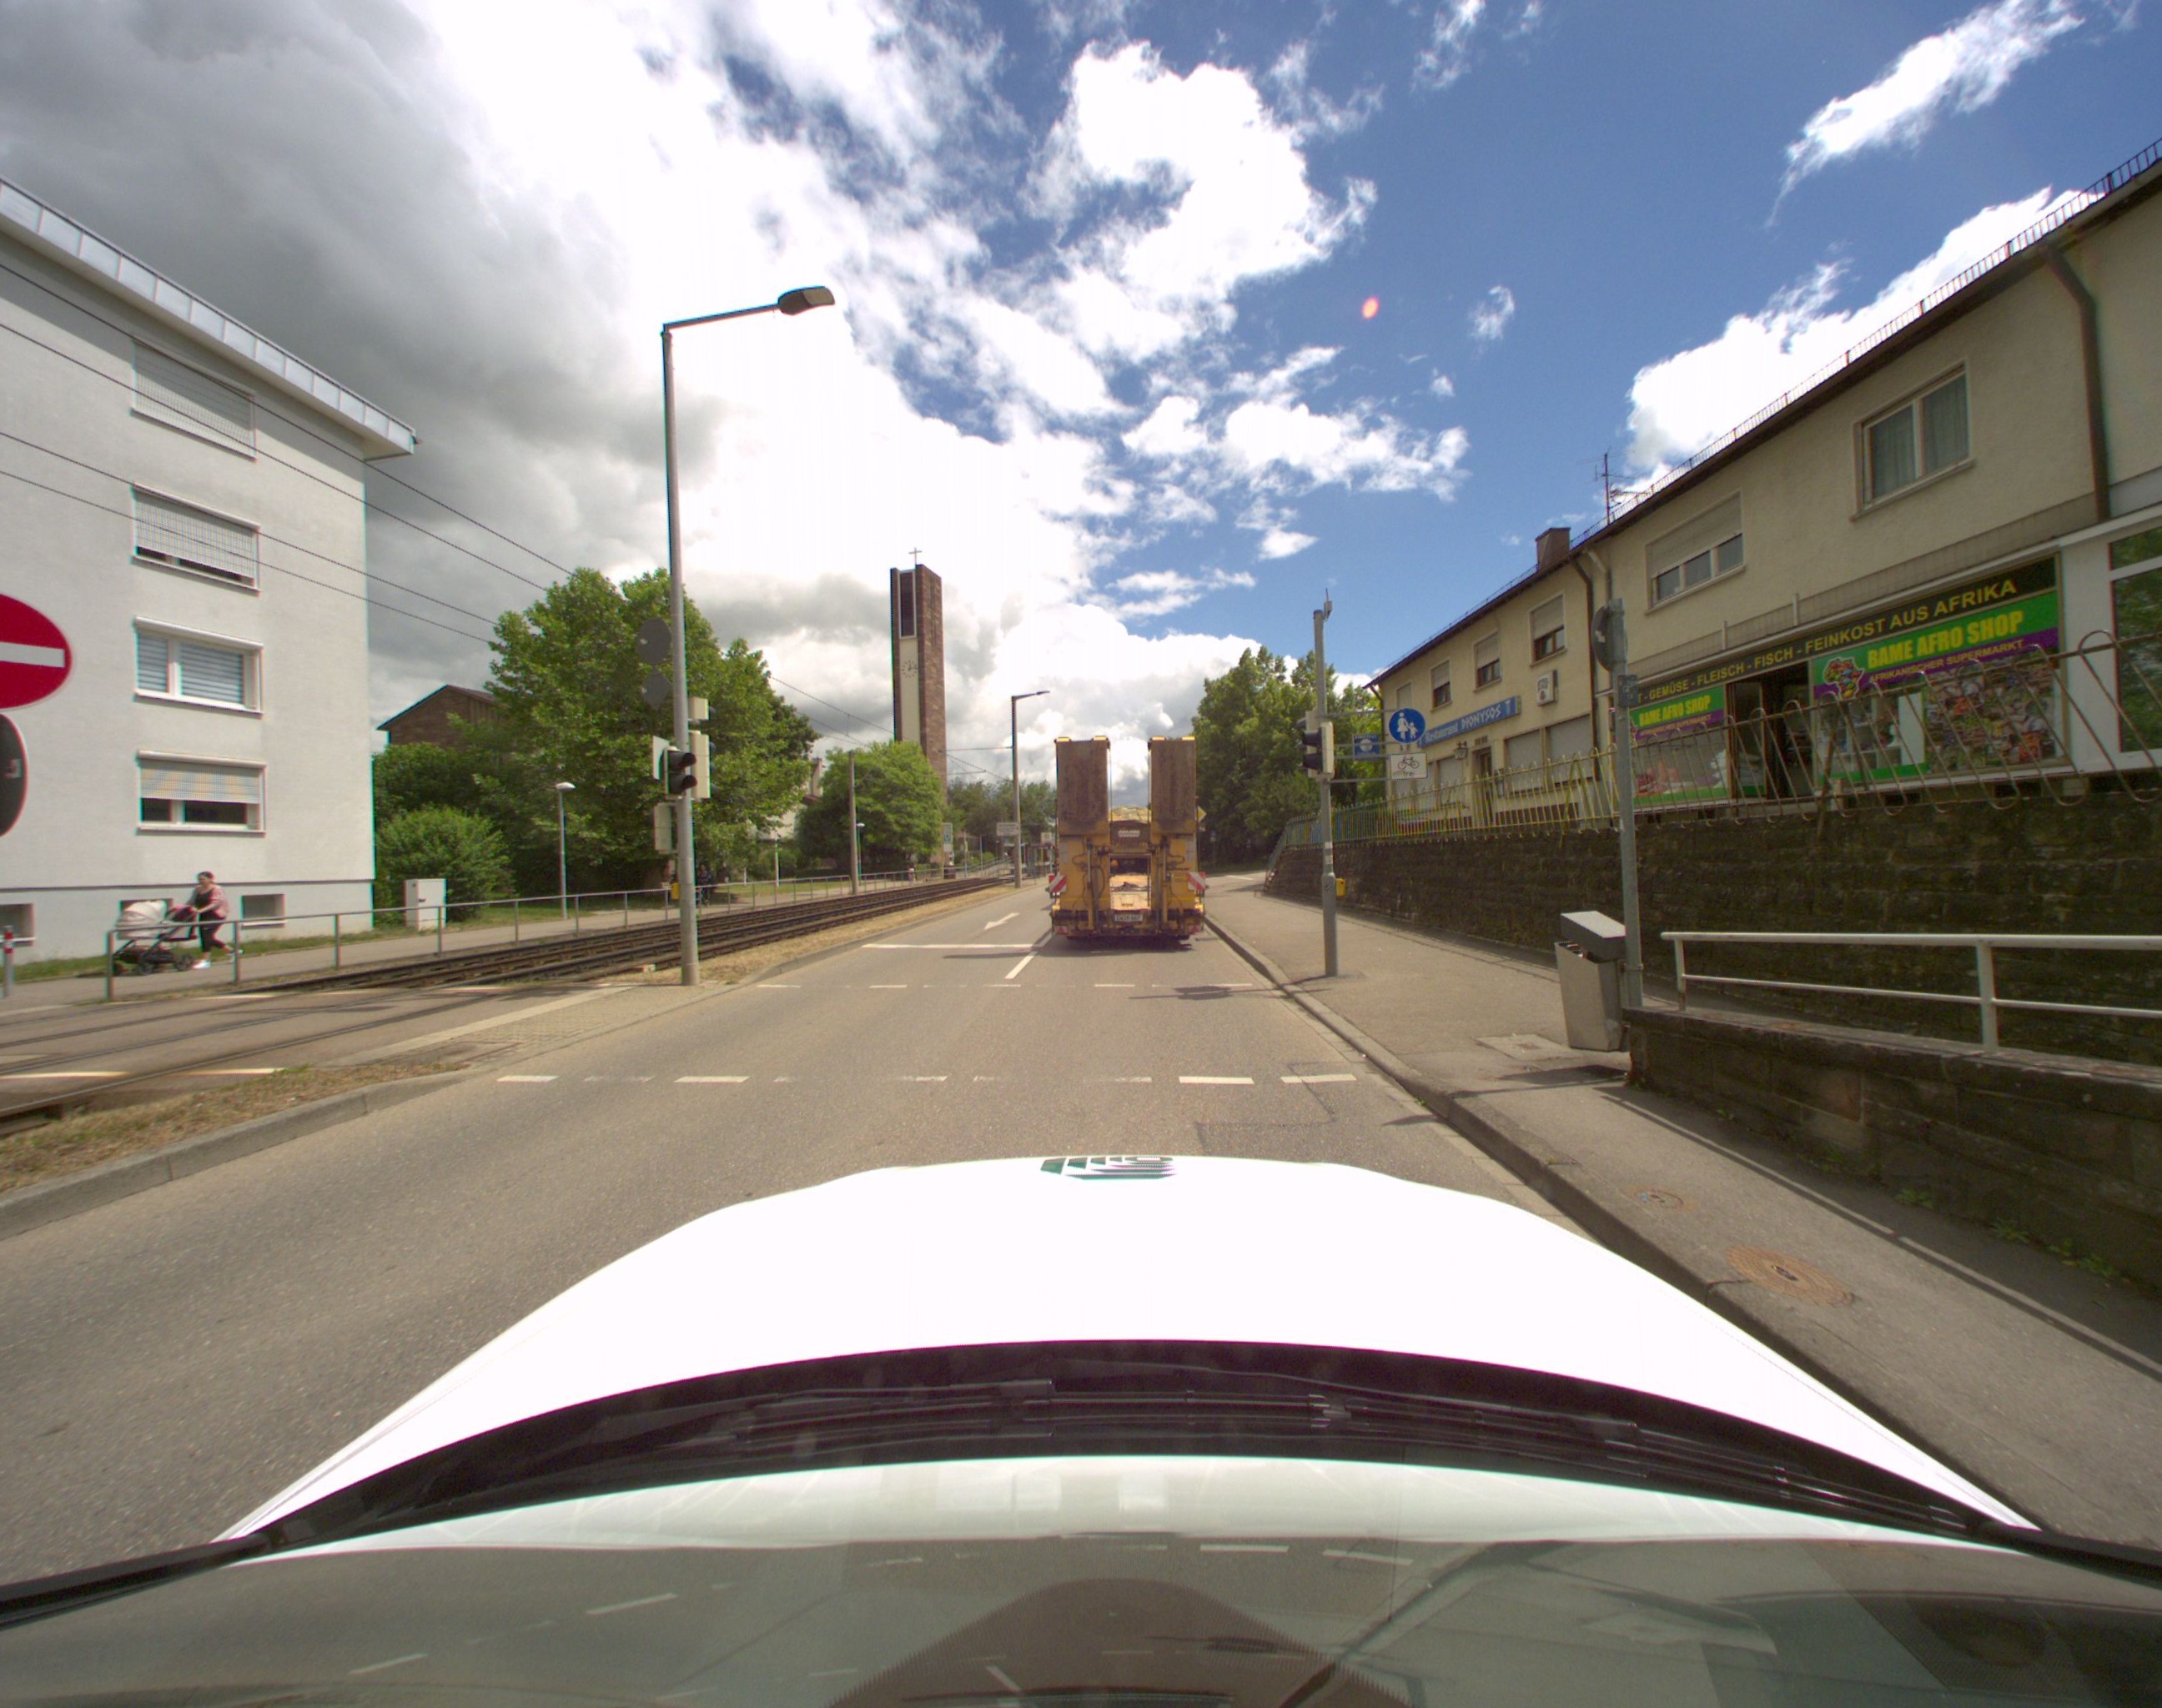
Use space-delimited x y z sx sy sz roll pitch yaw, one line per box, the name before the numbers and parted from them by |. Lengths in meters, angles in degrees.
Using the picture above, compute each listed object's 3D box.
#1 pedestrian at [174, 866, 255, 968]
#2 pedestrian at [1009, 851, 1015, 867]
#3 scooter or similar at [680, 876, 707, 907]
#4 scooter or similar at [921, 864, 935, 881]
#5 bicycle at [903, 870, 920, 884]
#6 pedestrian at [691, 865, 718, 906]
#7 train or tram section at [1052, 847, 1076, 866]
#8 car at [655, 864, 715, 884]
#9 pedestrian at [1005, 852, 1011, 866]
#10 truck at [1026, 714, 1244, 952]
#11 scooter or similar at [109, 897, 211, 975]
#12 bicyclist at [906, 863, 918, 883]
pedestrian | -14.828 1.058 13.950 0.642 1.692 0.680 -1 -1 3
pedestrian | -9.159 0.674 108.855 0.709 2.014 0.732 0 -1 1
scooter or similar | -14.450 1.389 30.389 0.602 1.115 0.821 -1 -1 1
scooter or similar | -11.565 1.402 61.573 0.646 1.237 1.402 -1 0 4
bicycle | -11.914 1.602 57.314 0.635 0.994 1.930 0 -1 3
pedestrian | -14.434 1.213 31.248 0.610 1.540 0.874 -1 -1 1
train or tram section | -3.138 0.527 154.795 3.095 3.465 18.840 0 -1 3
car | -34.144 1.702 70.342 1.976 1.574 4.500 -1 -1 21
pedestrian | -9.325 0.615 104.051 0.582 1.778 0.576 0 -1 3
truck | 0.986 -0.274 19.985 3.390 3.732 13.739 -2 -1 1
scooter or similar | -14.845 1.307 13.150 0.605 1.163 0.892 -2 -1 3
bicyclist | -11.918 1.326 57.464 0.630 1.429 0.791 0 -1 3
